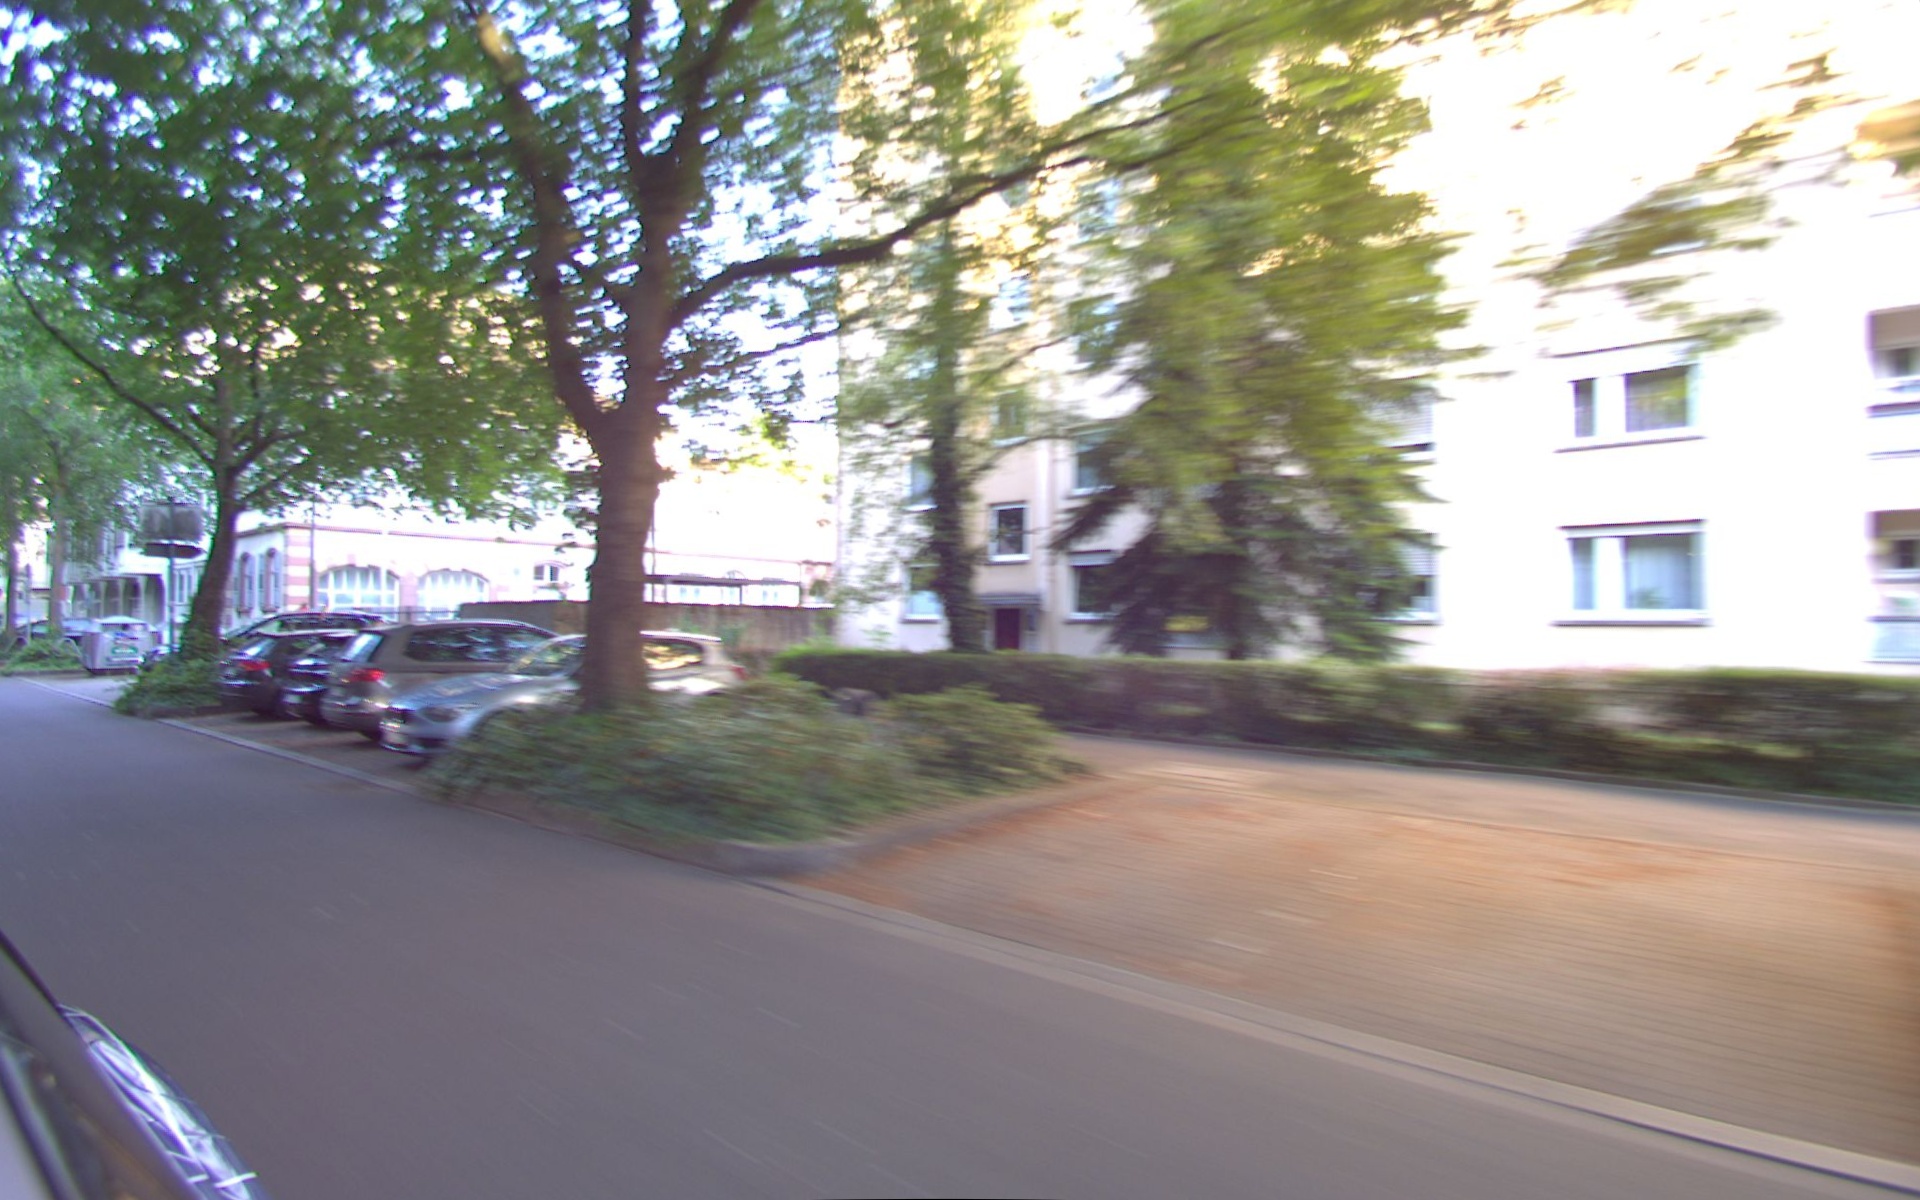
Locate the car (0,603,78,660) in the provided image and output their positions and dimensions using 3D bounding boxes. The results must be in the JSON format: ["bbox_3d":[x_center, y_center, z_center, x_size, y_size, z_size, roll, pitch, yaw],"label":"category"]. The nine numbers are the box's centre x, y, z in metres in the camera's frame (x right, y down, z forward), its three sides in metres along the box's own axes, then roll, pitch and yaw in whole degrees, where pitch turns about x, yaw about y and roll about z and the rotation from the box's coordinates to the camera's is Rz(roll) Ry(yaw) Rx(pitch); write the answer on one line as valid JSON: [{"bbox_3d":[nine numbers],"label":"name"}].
[{"bbox_3d":[-43.988,1.444,46.490,2.119,2.592,4.952,-2,-2,40],"label":"car"}]

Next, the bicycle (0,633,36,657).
[{"bbox_3d":[-33.875,1.609,35.940,0.613,0.837,1.535,-2,-2,44],"label":"bicycle"}]

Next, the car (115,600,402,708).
[{"bbox_3d":[-14.216,1.033,20.746,1.998,1.970,4.460,-1,-2,39],"label":"car"}]

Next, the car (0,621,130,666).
[{"bbox_3d":[-34.676,1.618,38.275,2.159,1.634,4.801,-1,-2,41],"label":"car"}]

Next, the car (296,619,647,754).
[{"bbox_3d":[-6.577,1.060,13.882,3.940,1.577,1.931,1,-2,-44],"label":"car"}]

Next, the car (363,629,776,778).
[{"bbox_3d":[-4.456,1.073,12.097,1.878,1.440,4.243,-2,-2,40],"label":"car"}]

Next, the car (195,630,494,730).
[{"bbox_3d":[-10.344,1.255,17.234,1.920,1.475,3.947,-2,-2,39],"label":"car"}]

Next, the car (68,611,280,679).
[{"bbox_3d":[-22.354,1.237,28.935,1.998,1.785,4.460,-1,-2,39],"label":"car"}]

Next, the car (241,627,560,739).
[{"bbox_3d":[-8.521,1.172,15.706,1.823,1.502,3.948,-1,-2,38],"label":"car"}]

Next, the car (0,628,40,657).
[{"bbox_3d":[-50.126,2.176,51.954,1.952,1.480,4.124,-2,-2,41],"label":"car"}]
